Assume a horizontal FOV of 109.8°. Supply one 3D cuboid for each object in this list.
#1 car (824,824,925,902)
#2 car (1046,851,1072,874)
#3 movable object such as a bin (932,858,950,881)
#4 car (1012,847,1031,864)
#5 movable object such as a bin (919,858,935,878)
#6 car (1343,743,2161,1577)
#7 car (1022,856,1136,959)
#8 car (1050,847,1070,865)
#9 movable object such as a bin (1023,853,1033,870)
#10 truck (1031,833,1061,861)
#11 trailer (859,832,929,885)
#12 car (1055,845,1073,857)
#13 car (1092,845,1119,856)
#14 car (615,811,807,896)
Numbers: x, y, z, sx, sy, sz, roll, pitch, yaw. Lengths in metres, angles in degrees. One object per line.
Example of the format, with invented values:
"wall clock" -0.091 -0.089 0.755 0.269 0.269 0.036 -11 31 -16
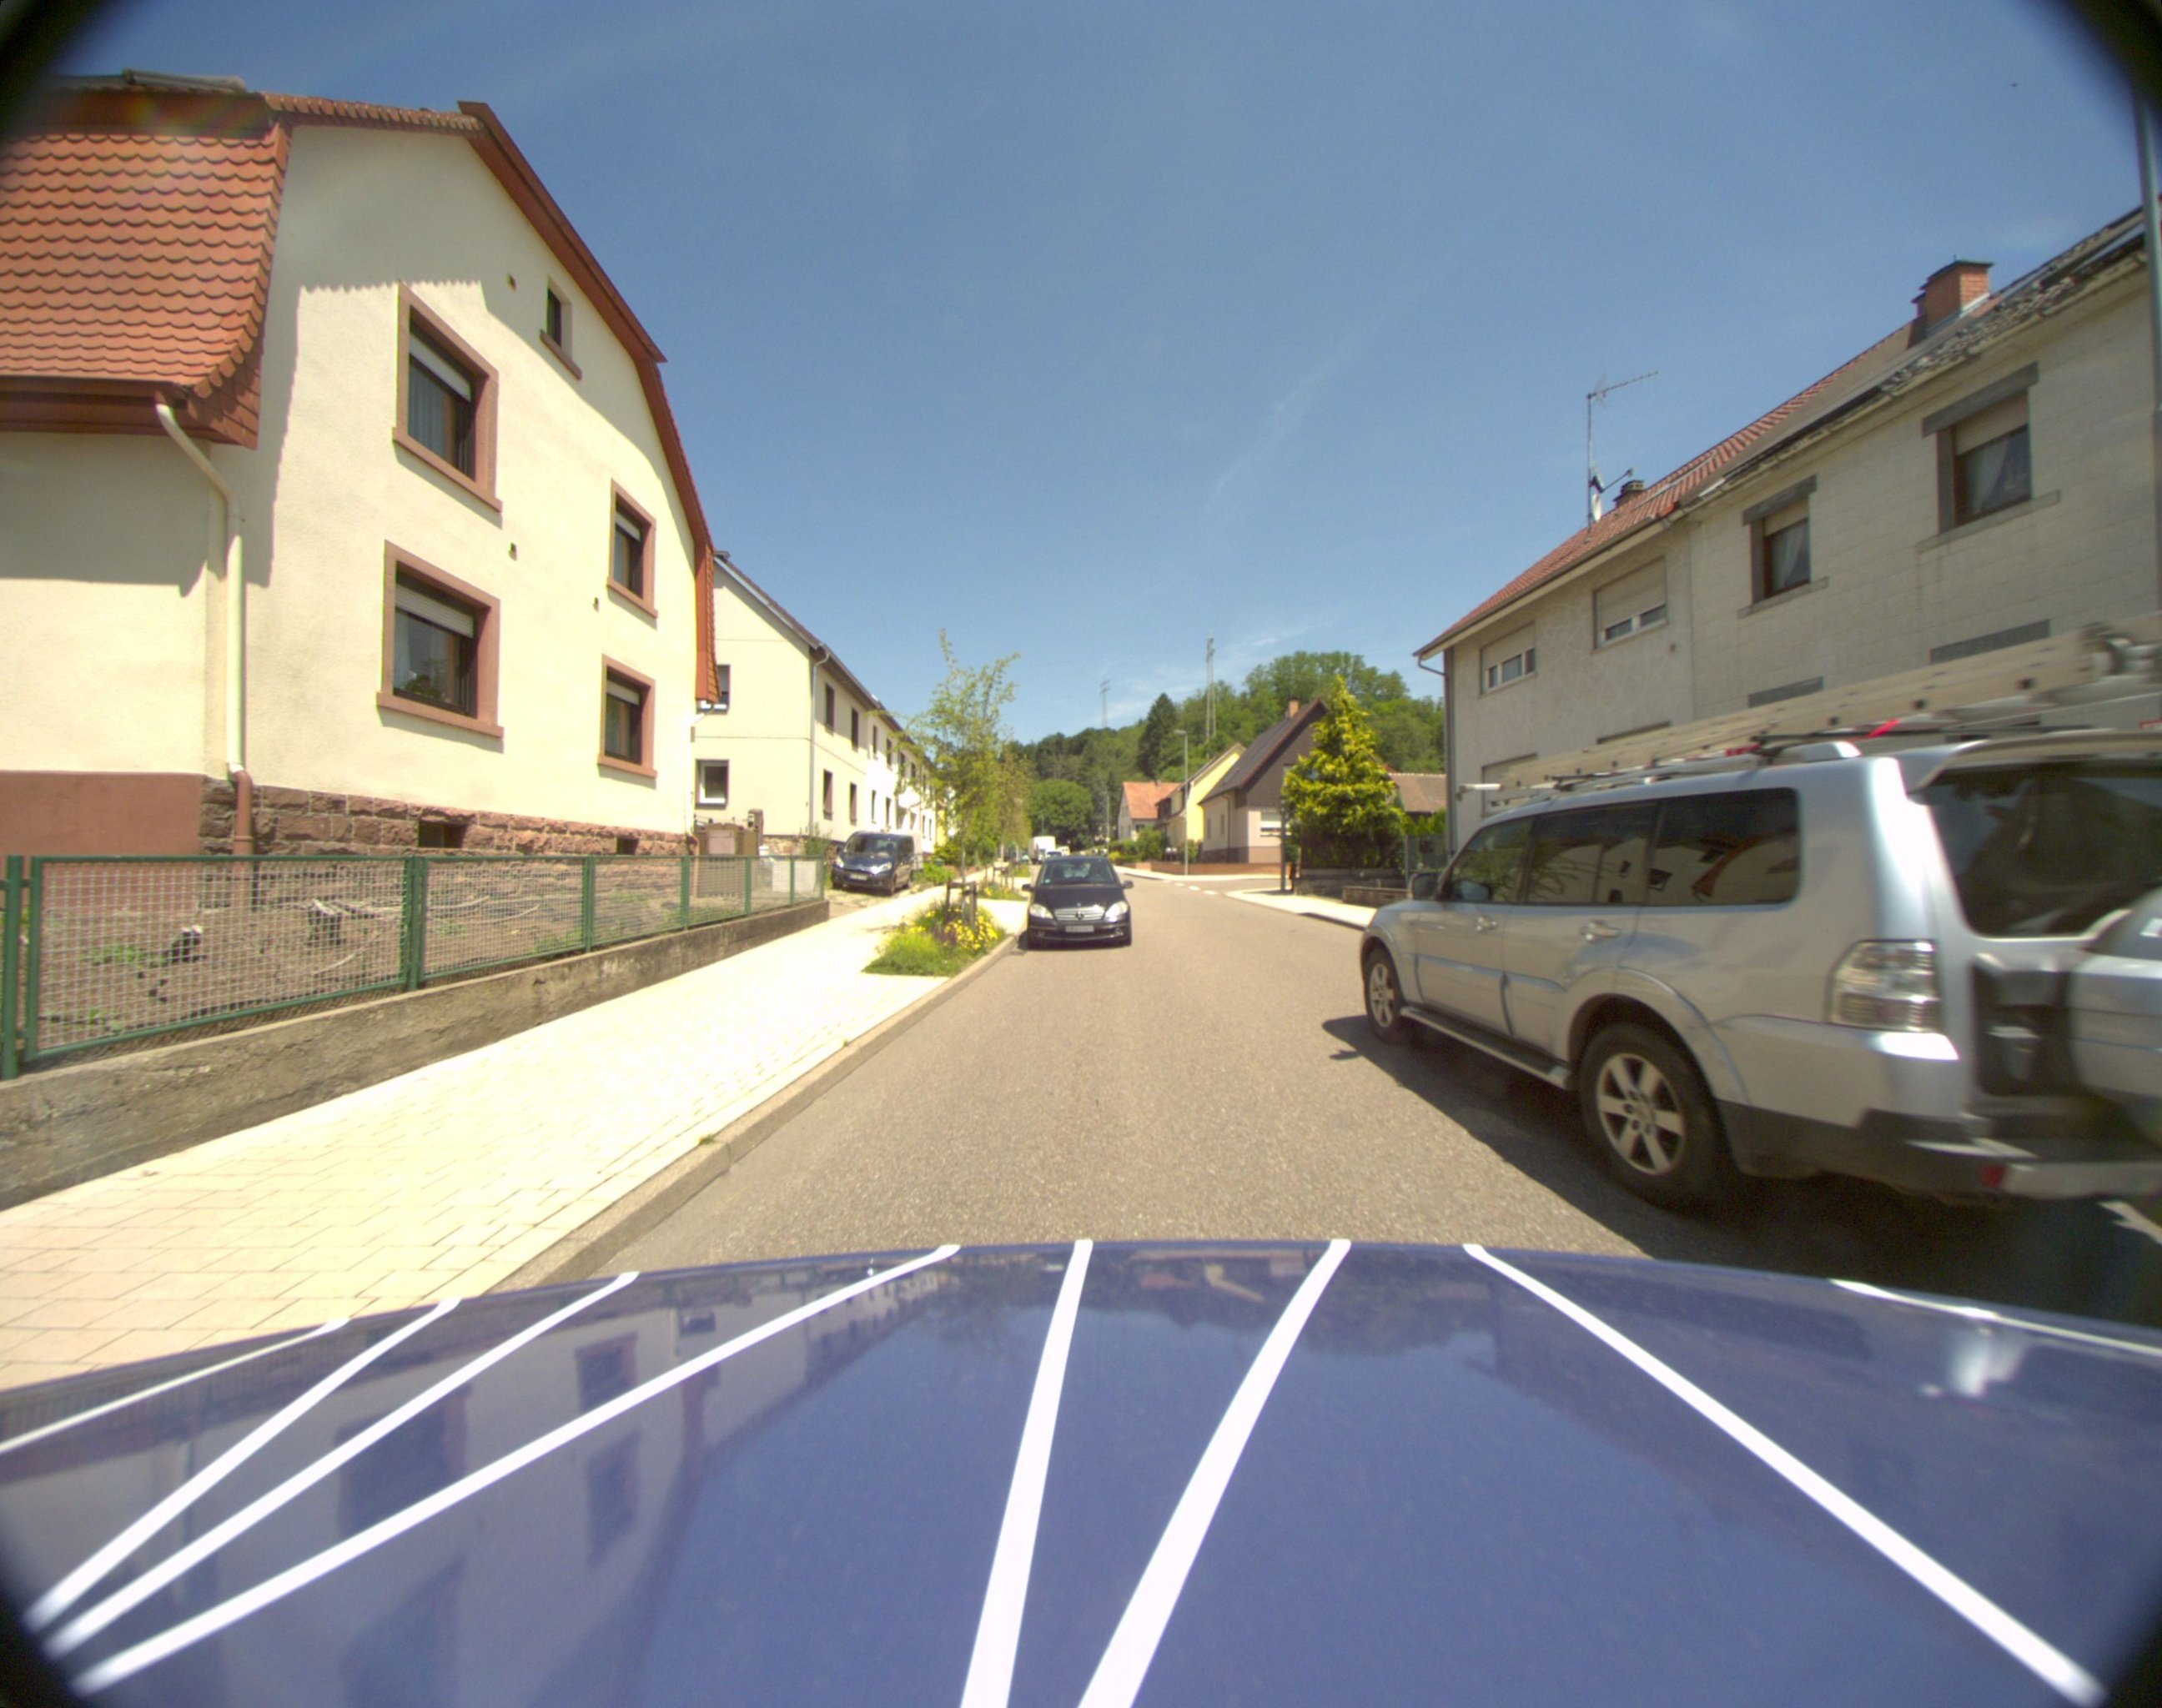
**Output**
"car" -6.533 0.262 24.657 1.857 1.959 4.772 10 0 -3
"car" -1.630 0.587 55.249 1.715 1.595 3.877 0 1 -5
"movable object such as a bin" -7.211 0.786 39.067 0.686 1.109 0.812 3 1 2
"car" -6.586 0.175 84.056 1.861 1.832 4.667 1 0 -7
"movable object such as a bin" -7.893 0.722 38.900 0.559 0.980 0.803 4 1 3
"car" 3.160 0.671 3.993 1.894 1.850 4.577 -1 0 -1
"car" -0.076 0.875 14.349 1.790 1.595 4.074 -2 0 -1
"car" -2.129 0.188 76.062 1.968 1.823 4.463 1 0 -2
"movable object such as a bin" -4.430 0.650 63.293 0.794 1.387 0.924 -1 1 -6
"truck" -4.538 -0.851 97.421 2.808 3.394 8.111 2 0 -10
"trailer" -7.295 0.148 29.743 1.320 2.002 2.278 -1 1 39
"car" -2.803 -0.516 125.463 1.706 1.938 3.992 -2 1 -22
"car" 3.980 -0.576 123.785 4.005 1.779 1.807 -2 1 -26
"car" -9.625 -0.010 20.016 3.998 1.755 1.890 6 0 -2
